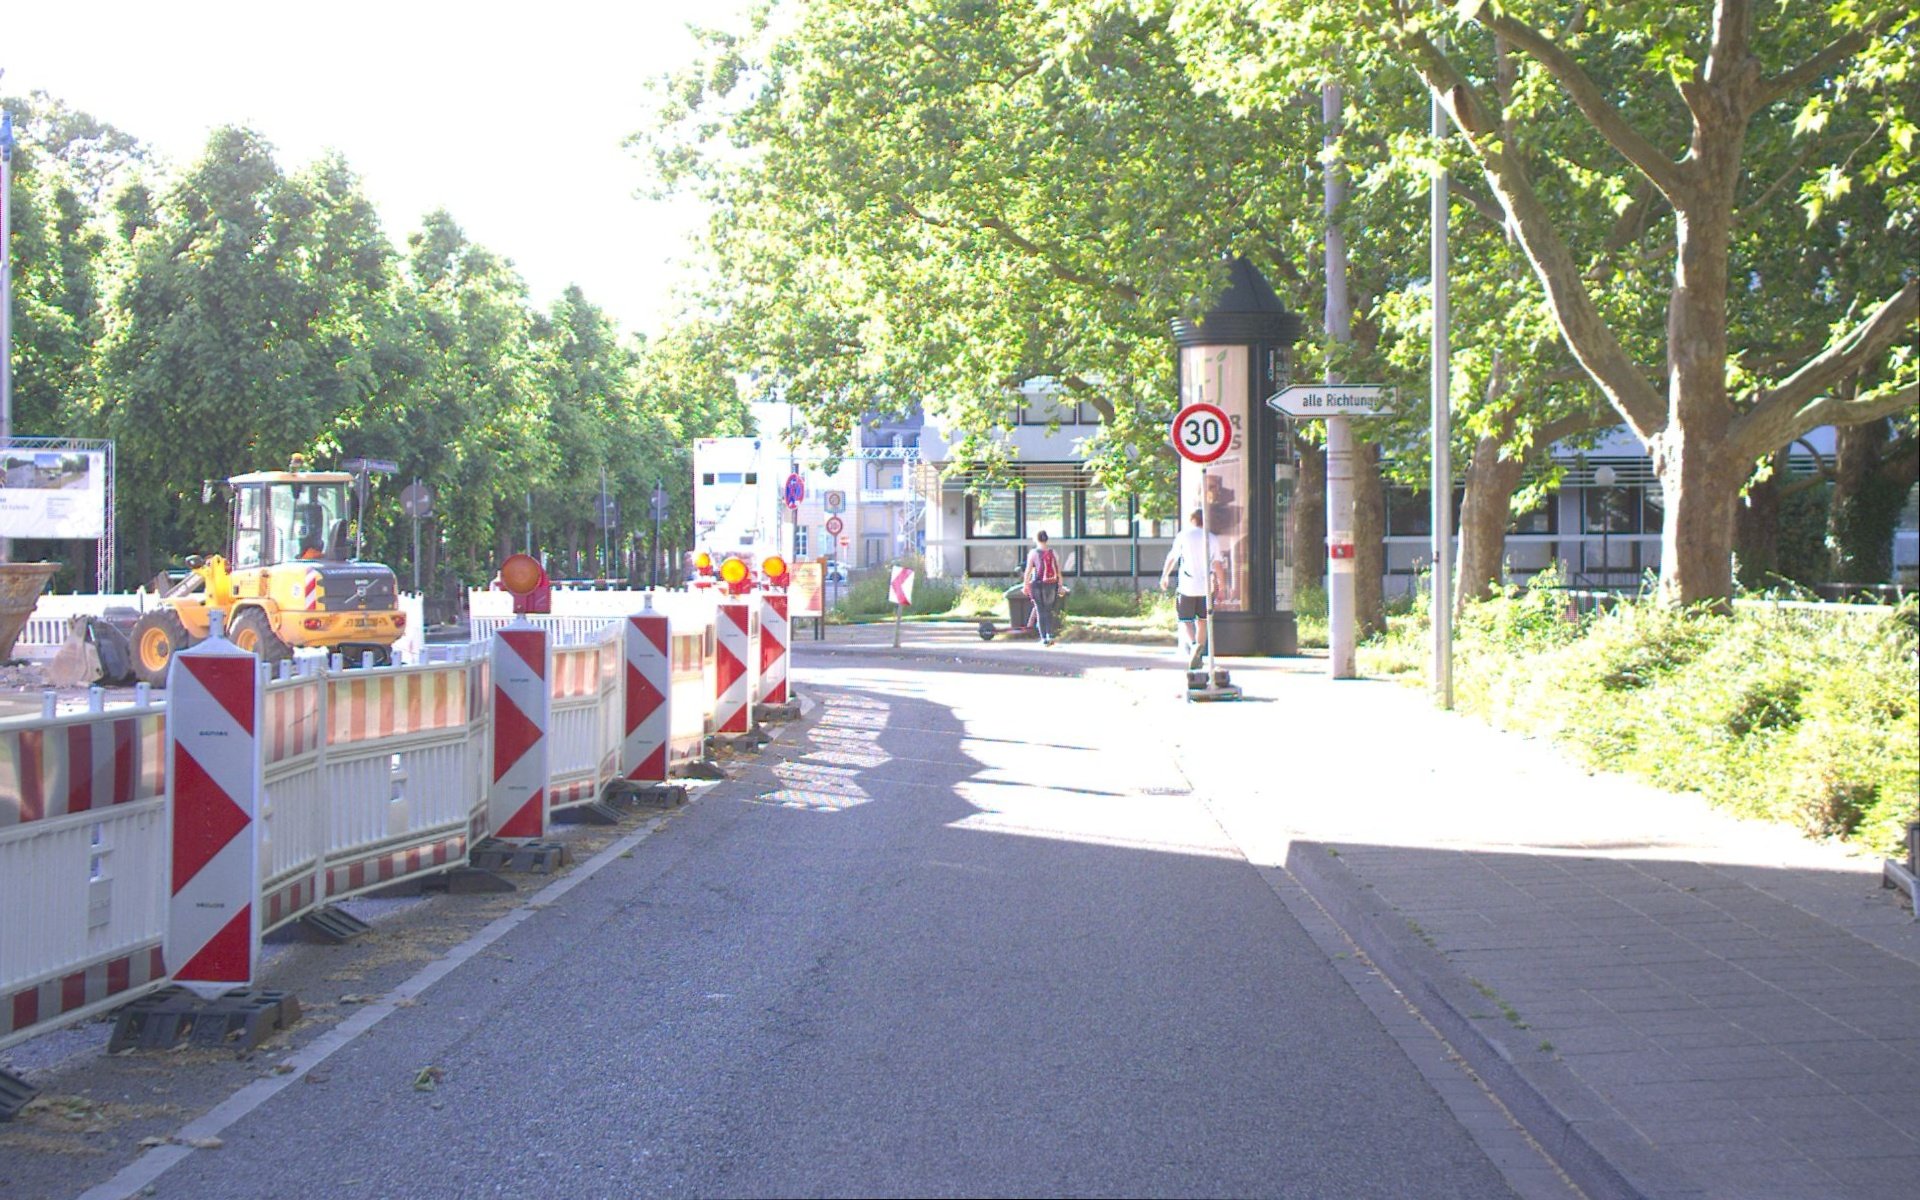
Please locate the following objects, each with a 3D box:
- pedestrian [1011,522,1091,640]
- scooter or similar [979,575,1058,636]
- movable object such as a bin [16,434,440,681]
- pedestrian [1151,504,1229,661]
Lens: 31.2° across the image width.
[{"bbox_3d":[1.259,-0.264,47.495,0.708,1.618,0.939,0,0,-30],"label":"pedestrian"},{"bbox_3d":[0.899,0.085,53.269,1.146,0.911,0.419,-2,0,-6],"label":"scooter or similar"},{"bbox_3d":[-9.672,-0.541,45.093,5.927,3.021,2.560,0,1,45],"label":"movable object such as a bin"},{"bbox_3d":[2.692,-0.199,40.325,0.745,1.807,1.134,1,0,-4],"label":"pedestrian"}]
